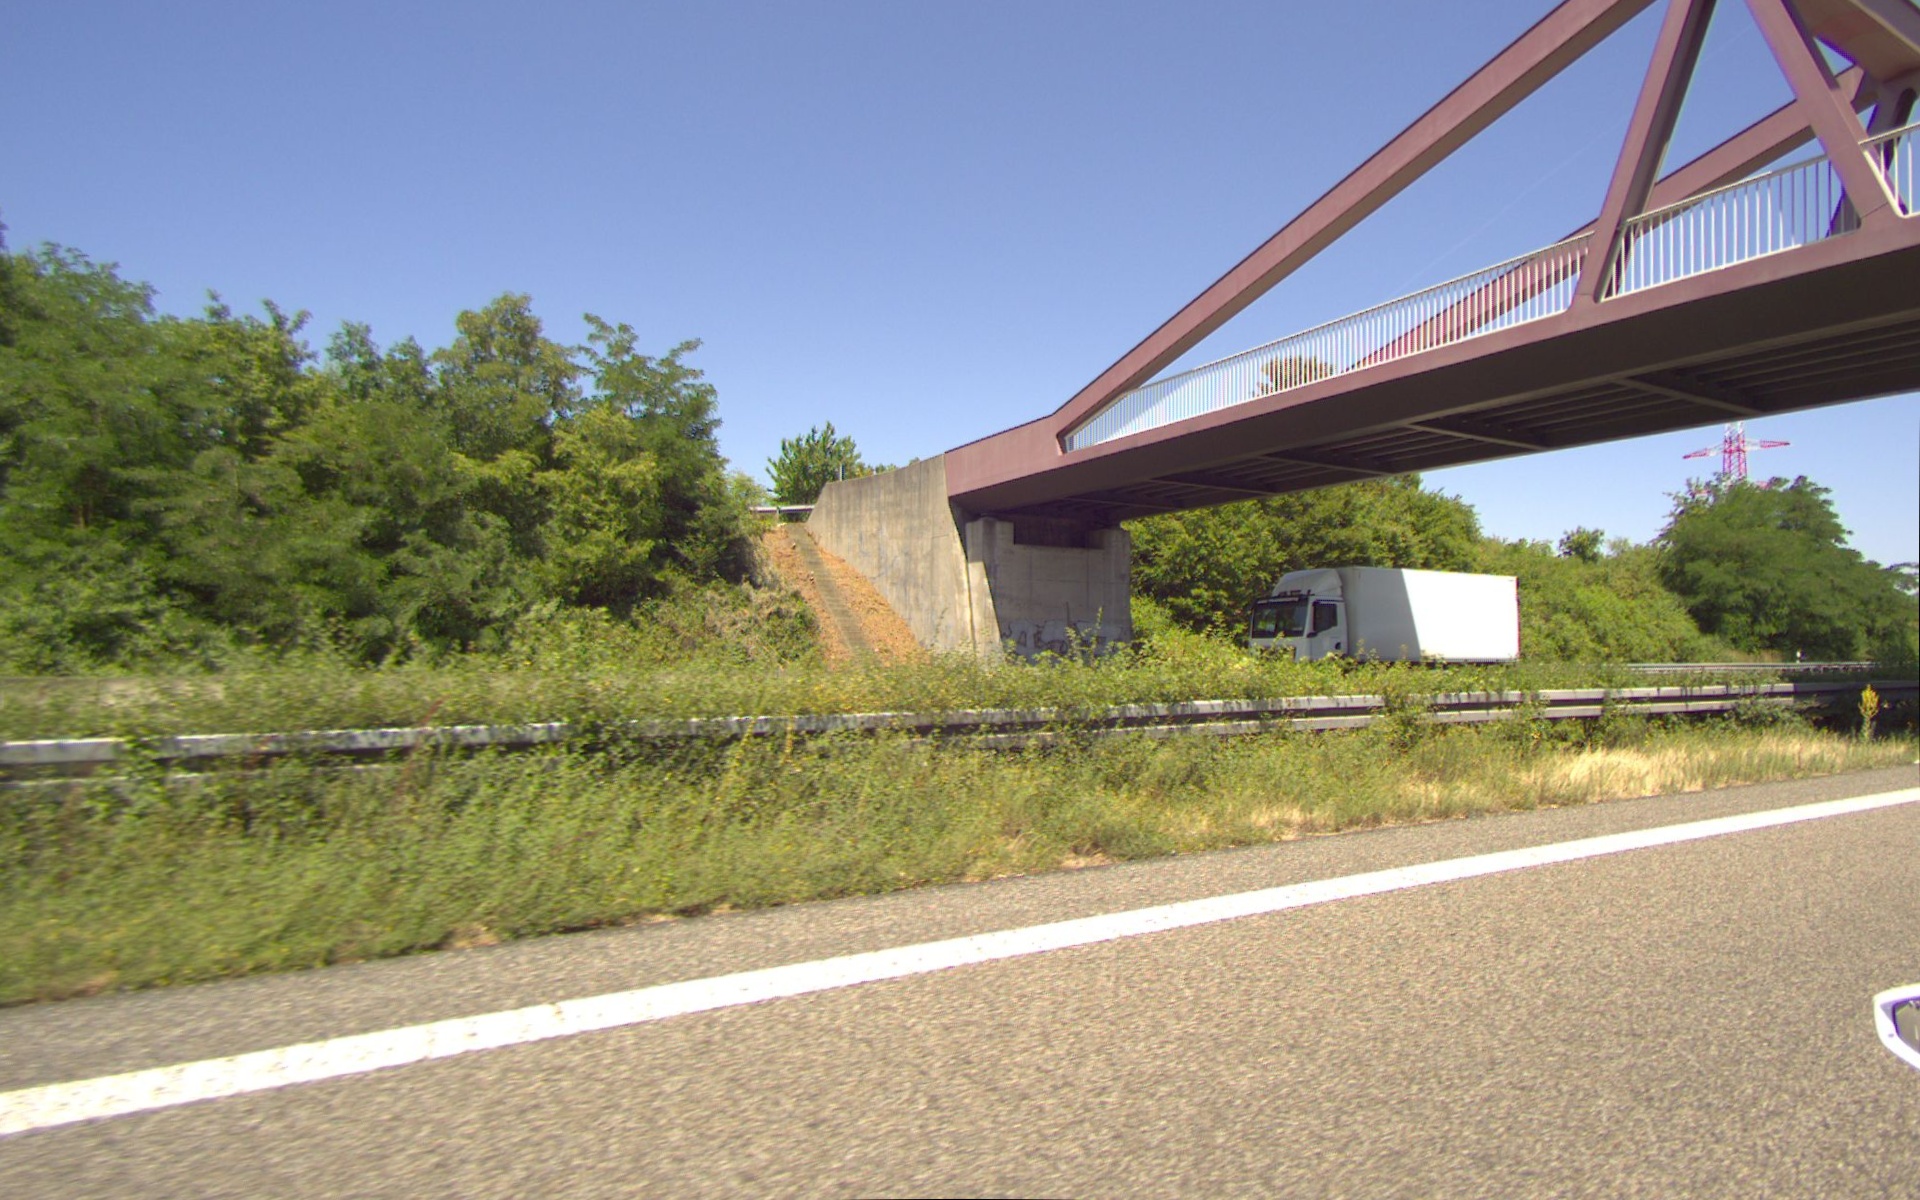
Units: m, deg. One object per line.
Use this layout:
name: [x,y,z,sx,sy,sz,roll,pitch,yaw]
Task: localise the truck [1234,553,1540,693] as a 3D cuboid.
truck: [12.742,0.767,29.543,10.068,3.583,2.796,1,-3,-30]
